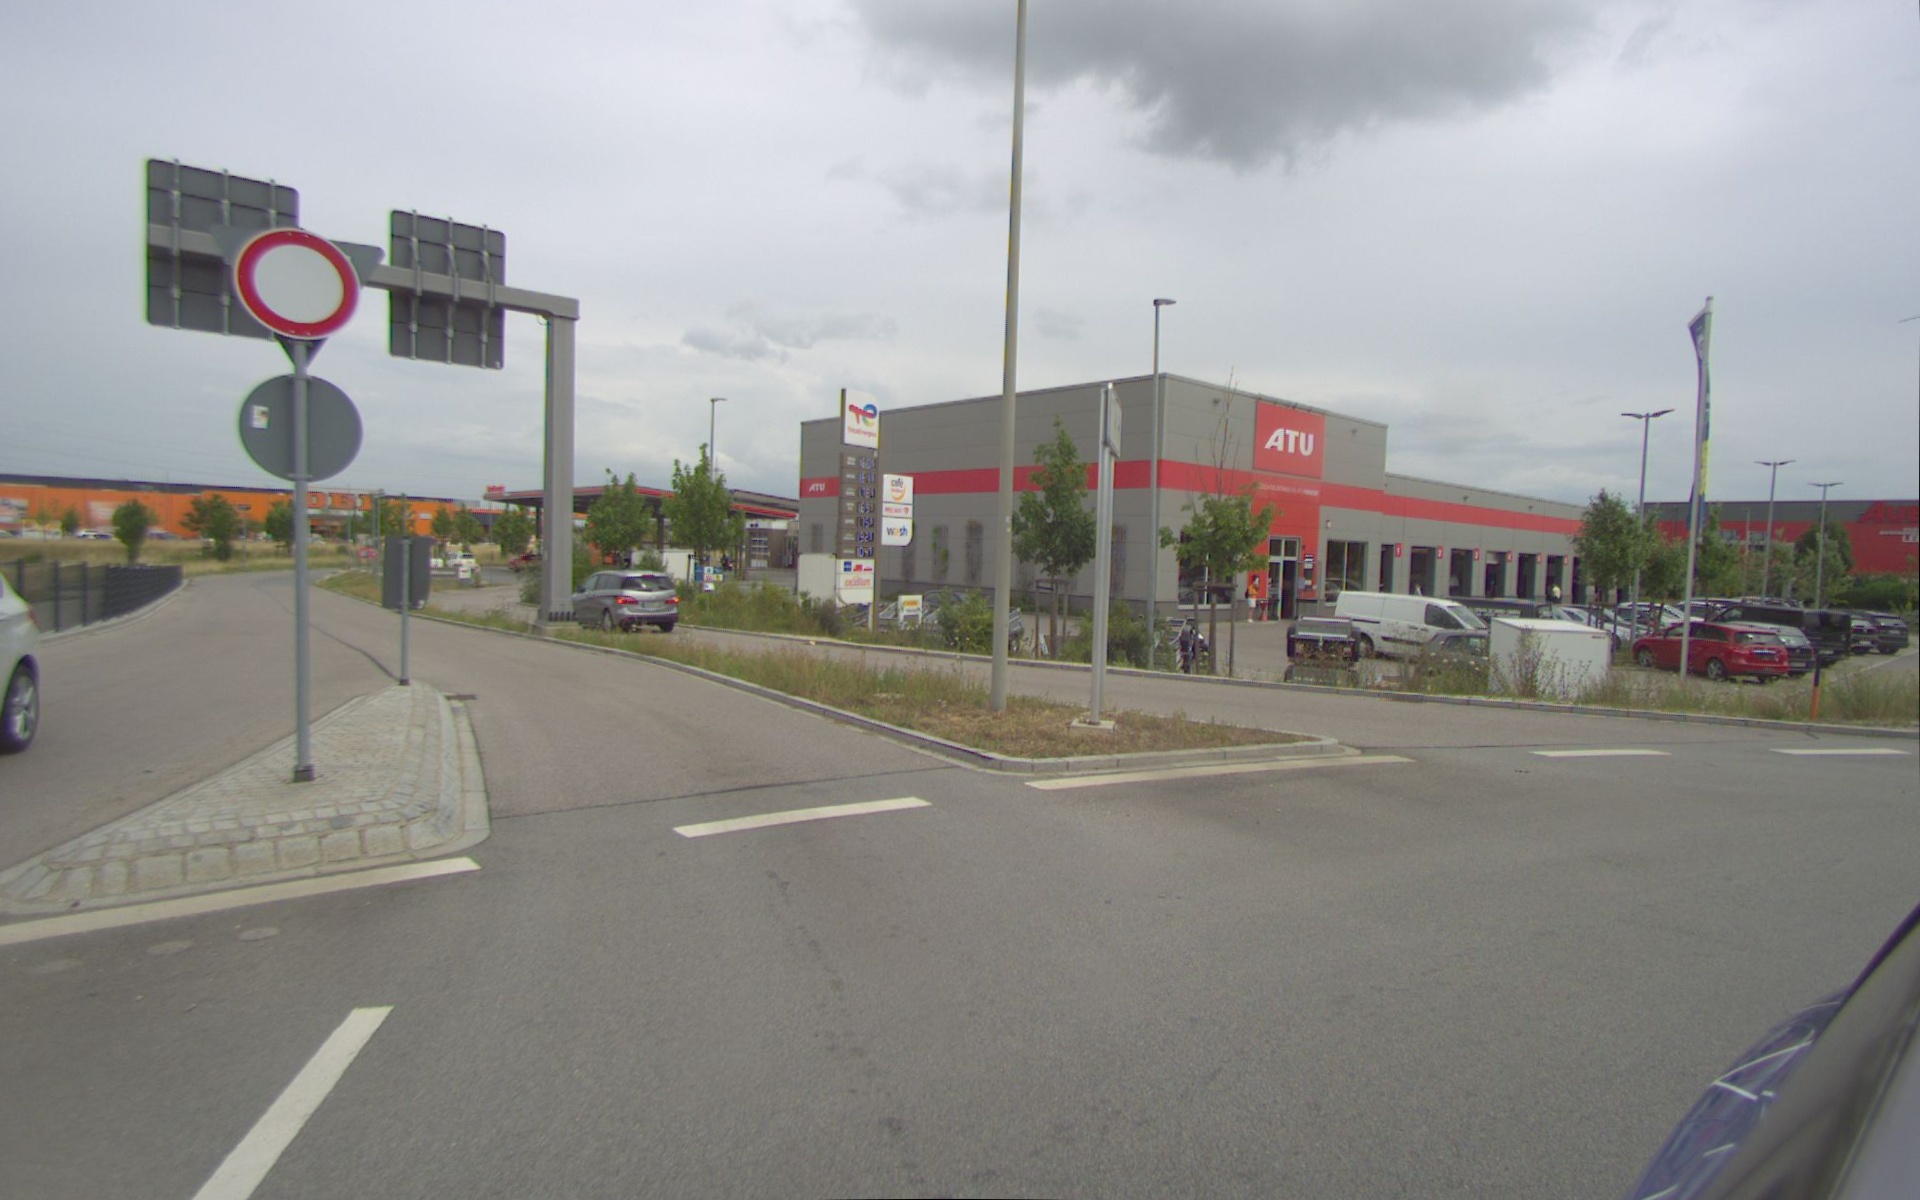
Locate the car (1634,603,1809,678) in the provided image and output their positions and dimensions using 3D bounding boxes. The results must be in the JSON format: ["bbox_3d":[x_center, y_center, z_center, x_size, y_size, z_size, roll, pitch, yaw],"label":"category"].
[{"bbox_3d":[22.231,1.118,29.771,1.736,1.597,4.086,1,6,-4],"label":"car"}]

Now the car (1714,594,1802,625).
[{"bbox_3d":[44.491,0.519,56.452,1.564,1.564,3.691,0,1,-44],"label":"car"}]

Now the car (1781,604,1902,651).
[{"bbox_3d":[36.446,1.095,41.976,1.622,1.642,4.071,4,1,5],"label":"car"}]

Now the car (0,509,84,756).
[{"bbox_3d":[-6.931,0.237,5.837,1.747,1.649,4.436,0,2,-26],"label":"car"}]

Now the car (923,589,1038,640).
[{"bbox_3d":[0.645,0.458,33.161,3.668,1.593,1.918,0,1,0],"label":"car"}]

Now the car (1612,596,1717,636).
[{"bbox_3d":[31.935,0.689,45.923,1.564,1.659,3.691,0,1,-44],"label":"car"}]

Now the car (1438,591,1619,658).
[{"bbox_3d":[18.185,0.705,32.548,1.883,1.661,4.667,0,5,-44],"label":"car"}]

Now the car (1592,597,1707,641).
[{"bbox_3d":[28.672,0.755,42.134,1.564,1.659,3.691,0,1,-44],"label":"car"}]

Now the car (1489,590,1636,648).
[{"bbox_3d":[21.200,0.621,35.724,1.564,1.859,4.192,0,1,-44],"label":"car"}]

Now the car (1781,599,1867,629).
[{"bbox_3d":[50.269,0.790,58.918,1.564,1.564,3.691,0,1,-44],"label":"car"}]

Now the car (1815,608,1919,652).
[{"bbox_3d":[39.113,1.247,43.329,1.707,1.642,4.071,4,1,6],"label":"car"}]

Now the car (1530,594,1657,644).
[{"bbox_3d":[23.244,0.659,37.229,1.564,1.659,3.691,0,1,-44],"label":"car"}]

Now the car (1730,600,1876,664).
[{"bbox_3d":[29.570,1.063,35.679,1.873,1.931,4.072,4,1,5],"label":"car"}]

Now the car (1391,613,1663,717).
[{"bbox_3d":[12.306,1.307,22.231,1.933,1.696,4.826,0,3,-44],"label":"car"}]

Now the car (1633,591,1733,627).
[{"bbox_3d":[34.707,0.403,48.654,1.564,1.564,3.691,0,1,-44],"label":"car"}]

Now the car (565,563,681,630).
[{"bbox_3d":[-8.973,-0.154,26.748,1.881,1.593,4.002,0,2,-34],"label":"car"}]

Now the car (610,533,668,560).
[{"bbox_3d":[-24.276,-4.028,76.564,3.775,1.816,1.712,2,0,-45],"label":"car"}]

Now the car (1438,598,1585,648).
[{"bbox_3d":[19.086,0.734,35.163,1.564,1.518,4.192,0,1,-44],"label":"car"}]

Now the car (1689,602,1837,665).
[{"bbox_3d":[27.119,1.075,34.368,1.739,1.598,4.077,3,4,2],"label":"car"}]

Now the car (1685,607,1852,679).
[{"bbox_3d":[25.017,1.272,31.516,1.737,1.597,4.082,3,5,0],"label":"car"}]

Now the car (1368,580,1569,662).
[{"bbox_3d":[15.474,0.561,31.016,1.967,1.996,5.070,0,4,-44],"label":"car"}]

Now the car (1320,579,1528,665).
[{"bbox_3d":[13.341,0.548,29.385,1.967,2.072,5.069,0,3,-44],"label":"car"}]
